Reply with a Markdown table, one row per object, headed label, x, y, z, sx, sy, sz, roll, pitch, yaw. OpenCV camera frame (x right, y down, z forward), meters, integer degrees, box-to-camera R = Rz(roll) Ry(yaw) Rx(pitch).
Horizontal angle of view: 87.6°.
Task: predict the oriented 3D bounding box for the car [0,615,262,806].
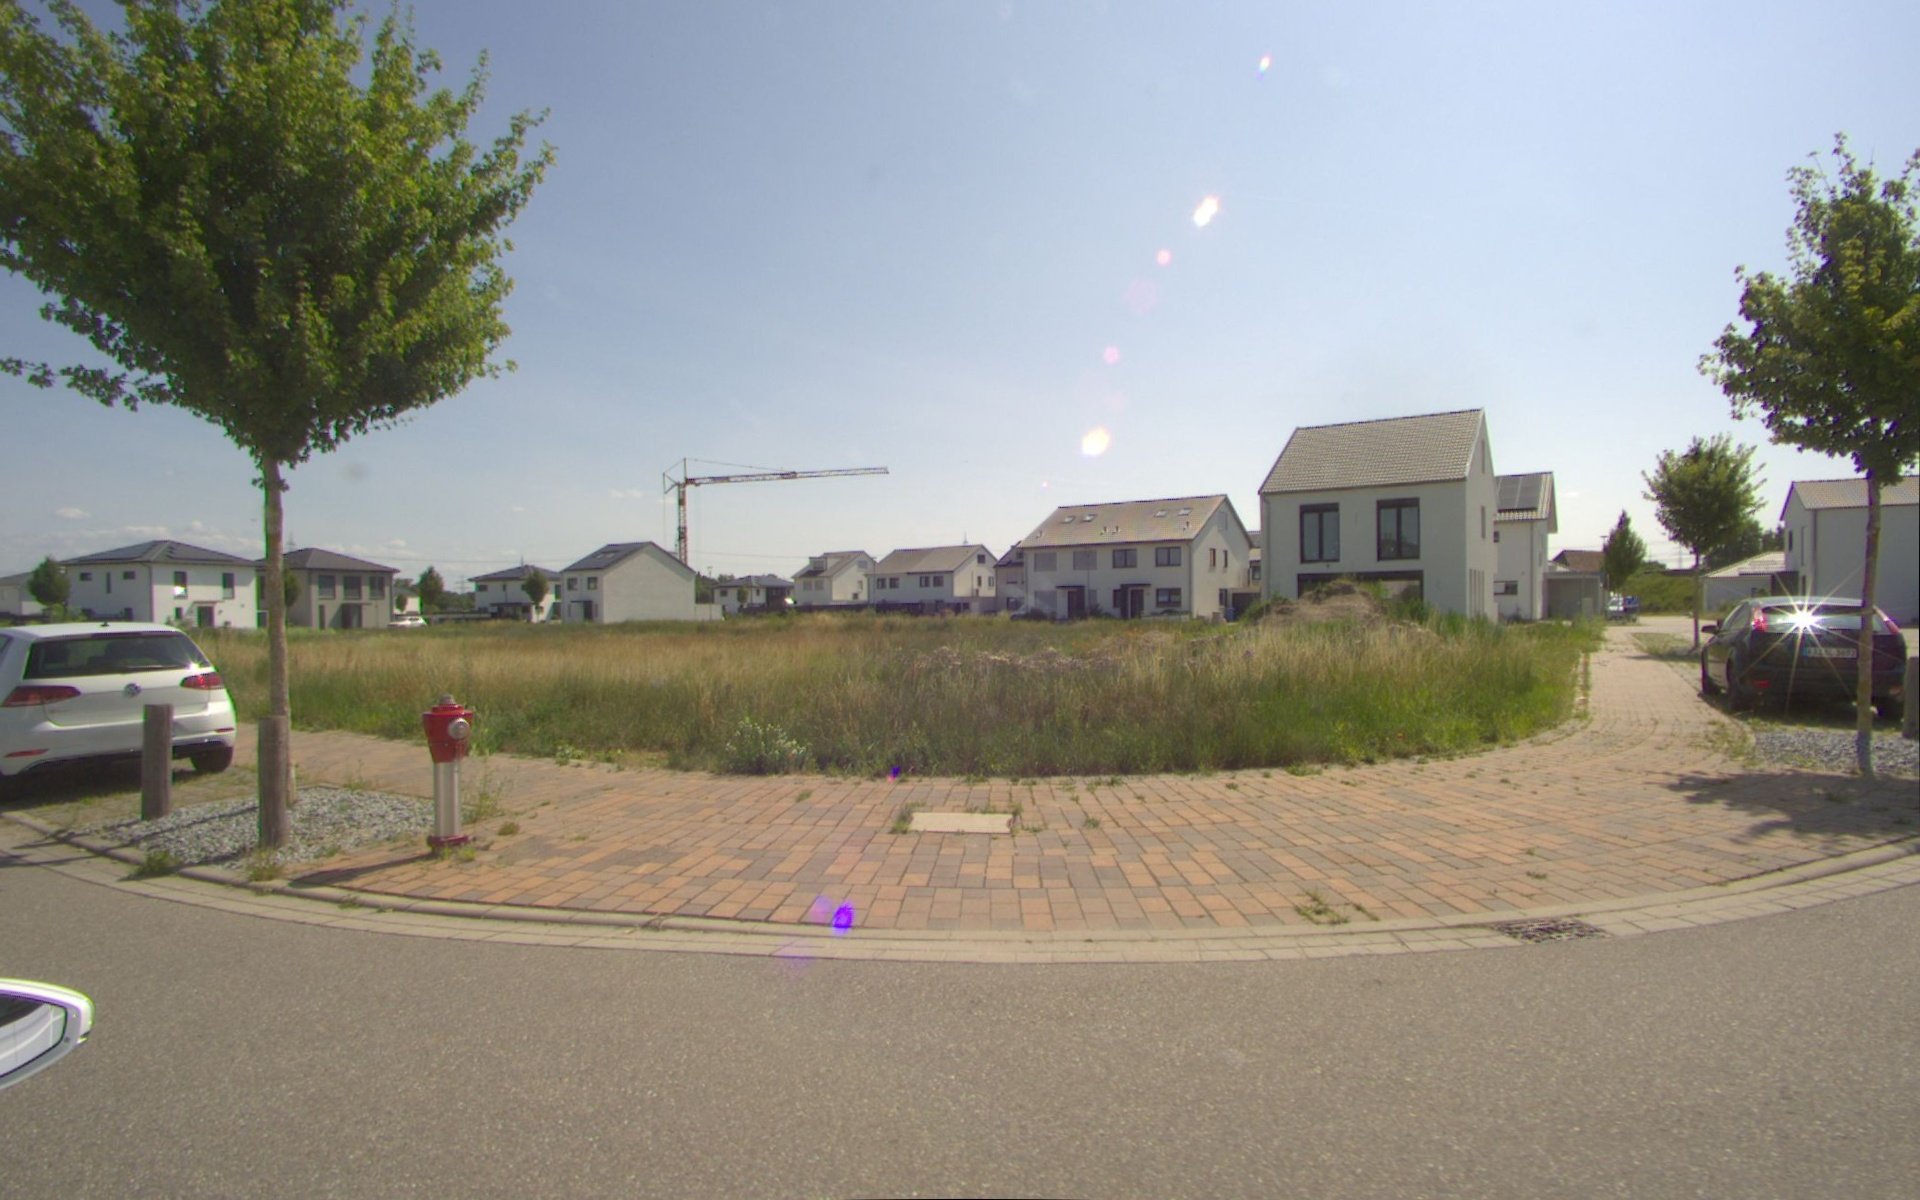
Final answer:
| label | x | y | z | sx | sy | sz | roll | pitch | yaw |
| --- | --- | --- | --- | --- | --- | --- | --- | --- | --- |
| car | -8.807 | 0.916 | 9.896 | 4.108 | 1.439 | 1.770 | 0 | 2 | 35 |

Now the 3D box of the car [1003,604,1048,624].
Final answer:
| label | x | y | z | sx | sy | sz | roll | pitch | yaw |
| --- | --- | --- | --- | --- | --- | --- | --- | --- | --- |
| car | 5.384 | 1.134 | 82.385 | 1.792 | 1.595 | 3.972 | -1 | 0 | 37 |

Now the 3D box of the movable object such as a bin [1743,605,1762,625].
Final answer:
| label | x | y | z | sx | sy | sz | roll | pitch | yaw |
| --- | --- | --- | --- | --- | --- | --- | --- | --- | --- |
| movable object such as a bin | 44.523 | 0.832 | 56.257 | 0.797 | 1.113 | 0.668 | 0 | 0 | 35 |

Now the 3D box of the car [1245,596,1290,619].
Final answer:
| label | x | y | z | sx | sy | sz | roll | pitch | yaw |
| --- | --- | --- | --- | --- | --- | --- | --- | --- | --- |
| car | 21.641 | 0.532 | 70.367 | 1.792 | 1.532 | 3.972 | -1 | 0 | 37 |

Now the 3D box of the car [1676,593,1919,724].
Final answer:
| label | x | y | z | sx | sy | sz | roll | pitch | yaw |
| --- | --- | --- | --- | --- | --- | --- | --- | --- | --- |
| car | 11.344 | 0.723 | 13.731 | 1.821 | 1.513 | 4.178 | -2 | -1 | 27 |

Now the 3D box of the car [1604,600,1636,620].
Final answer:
| label | x | y | z | sx | sy | sz | roll | pitch | yaw |
| --- | --- | --- | --- | --- | --- | --- | --- | --- | --- |
| car | 48.452 | 0.702 | 73.588 | 1.899 | 1.439 | 4.396 | -1 | 0 | 33 |
